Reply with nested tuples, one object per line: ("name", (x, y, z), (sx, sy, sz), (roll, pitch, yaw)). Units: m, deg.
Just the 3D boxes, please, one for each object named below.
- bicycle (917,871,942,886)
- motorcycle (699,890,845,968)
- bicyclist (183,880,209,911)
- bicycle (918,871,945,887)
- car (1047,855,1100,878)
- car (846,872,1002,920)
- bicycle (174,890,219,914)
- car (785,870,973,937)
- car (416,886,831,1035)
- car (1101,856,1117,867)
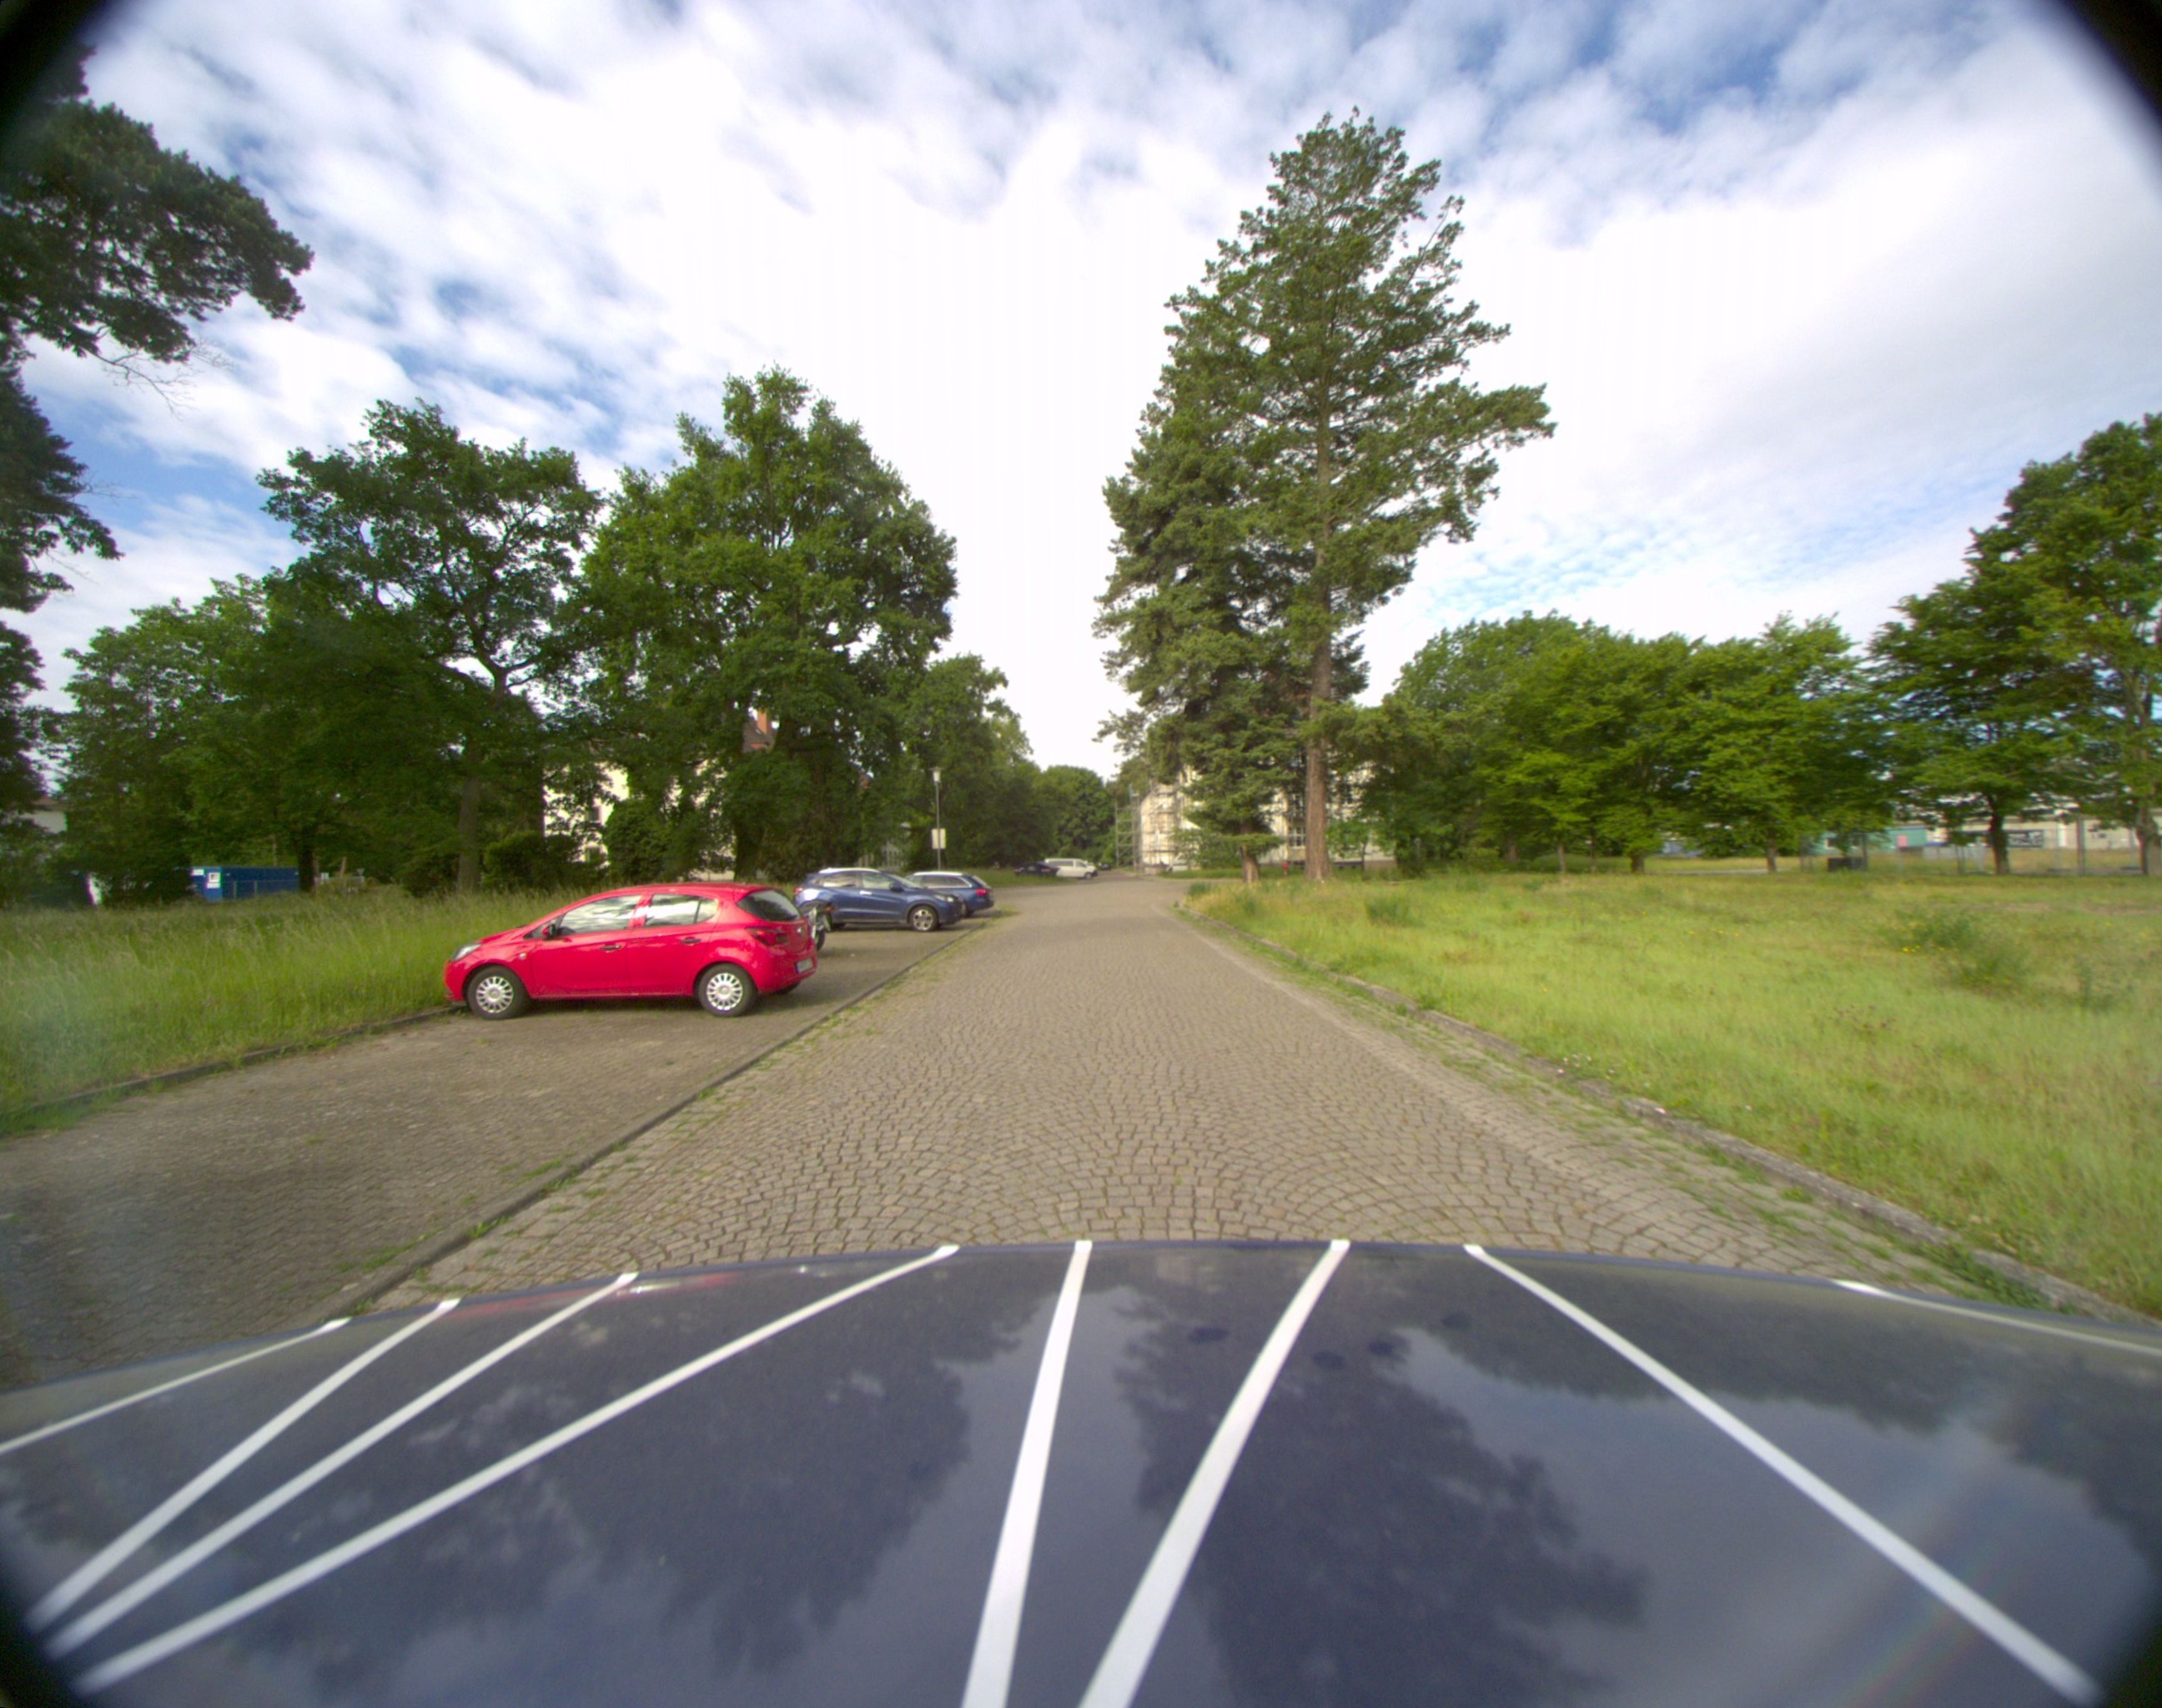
("bicycle", (-11.572, 1.845, 58.117), (1.810, 1.082, 0.552), (-1, 2, -22))
("motorcycle", (-5.416, 1.307, 13.410), (2.271, 1.267, 0.605), (-1, 0, -5))
("bicyclist", (-60.310, 2.825, 51.799), (0.658, 2.002, 0.848), (-3, 1, 1))
("bicycle", (-11.091, 1.831, 56.275), (1.868, 1.082, 0.519), (-1, 2, -22))
("car", (-0.734, 1.182, 72.844), (4.916, 1.983, 2.000), (-2, 0, -2))
("car", (-4.905, 1.308, 24.127), (4.515, 1.456, 1.896), (0, 0, 4))
("bicycle", (-60.291, 3.273, 51.818), (0.655, 1.471, 1.934), (-3, 1, 1))
("car", (-5.023, 1.223, 19.369), (4.274, 1.564, 1.895), (0, 0, 0))
("car", (-5.200, 1.176, 9.044), (3.849, 1.496, 1.738), (-1, 0, -1))
("car", (5.045, 1.440, 138.987), (2.029, 1.915, 3.997), (-1, 0, -11))
